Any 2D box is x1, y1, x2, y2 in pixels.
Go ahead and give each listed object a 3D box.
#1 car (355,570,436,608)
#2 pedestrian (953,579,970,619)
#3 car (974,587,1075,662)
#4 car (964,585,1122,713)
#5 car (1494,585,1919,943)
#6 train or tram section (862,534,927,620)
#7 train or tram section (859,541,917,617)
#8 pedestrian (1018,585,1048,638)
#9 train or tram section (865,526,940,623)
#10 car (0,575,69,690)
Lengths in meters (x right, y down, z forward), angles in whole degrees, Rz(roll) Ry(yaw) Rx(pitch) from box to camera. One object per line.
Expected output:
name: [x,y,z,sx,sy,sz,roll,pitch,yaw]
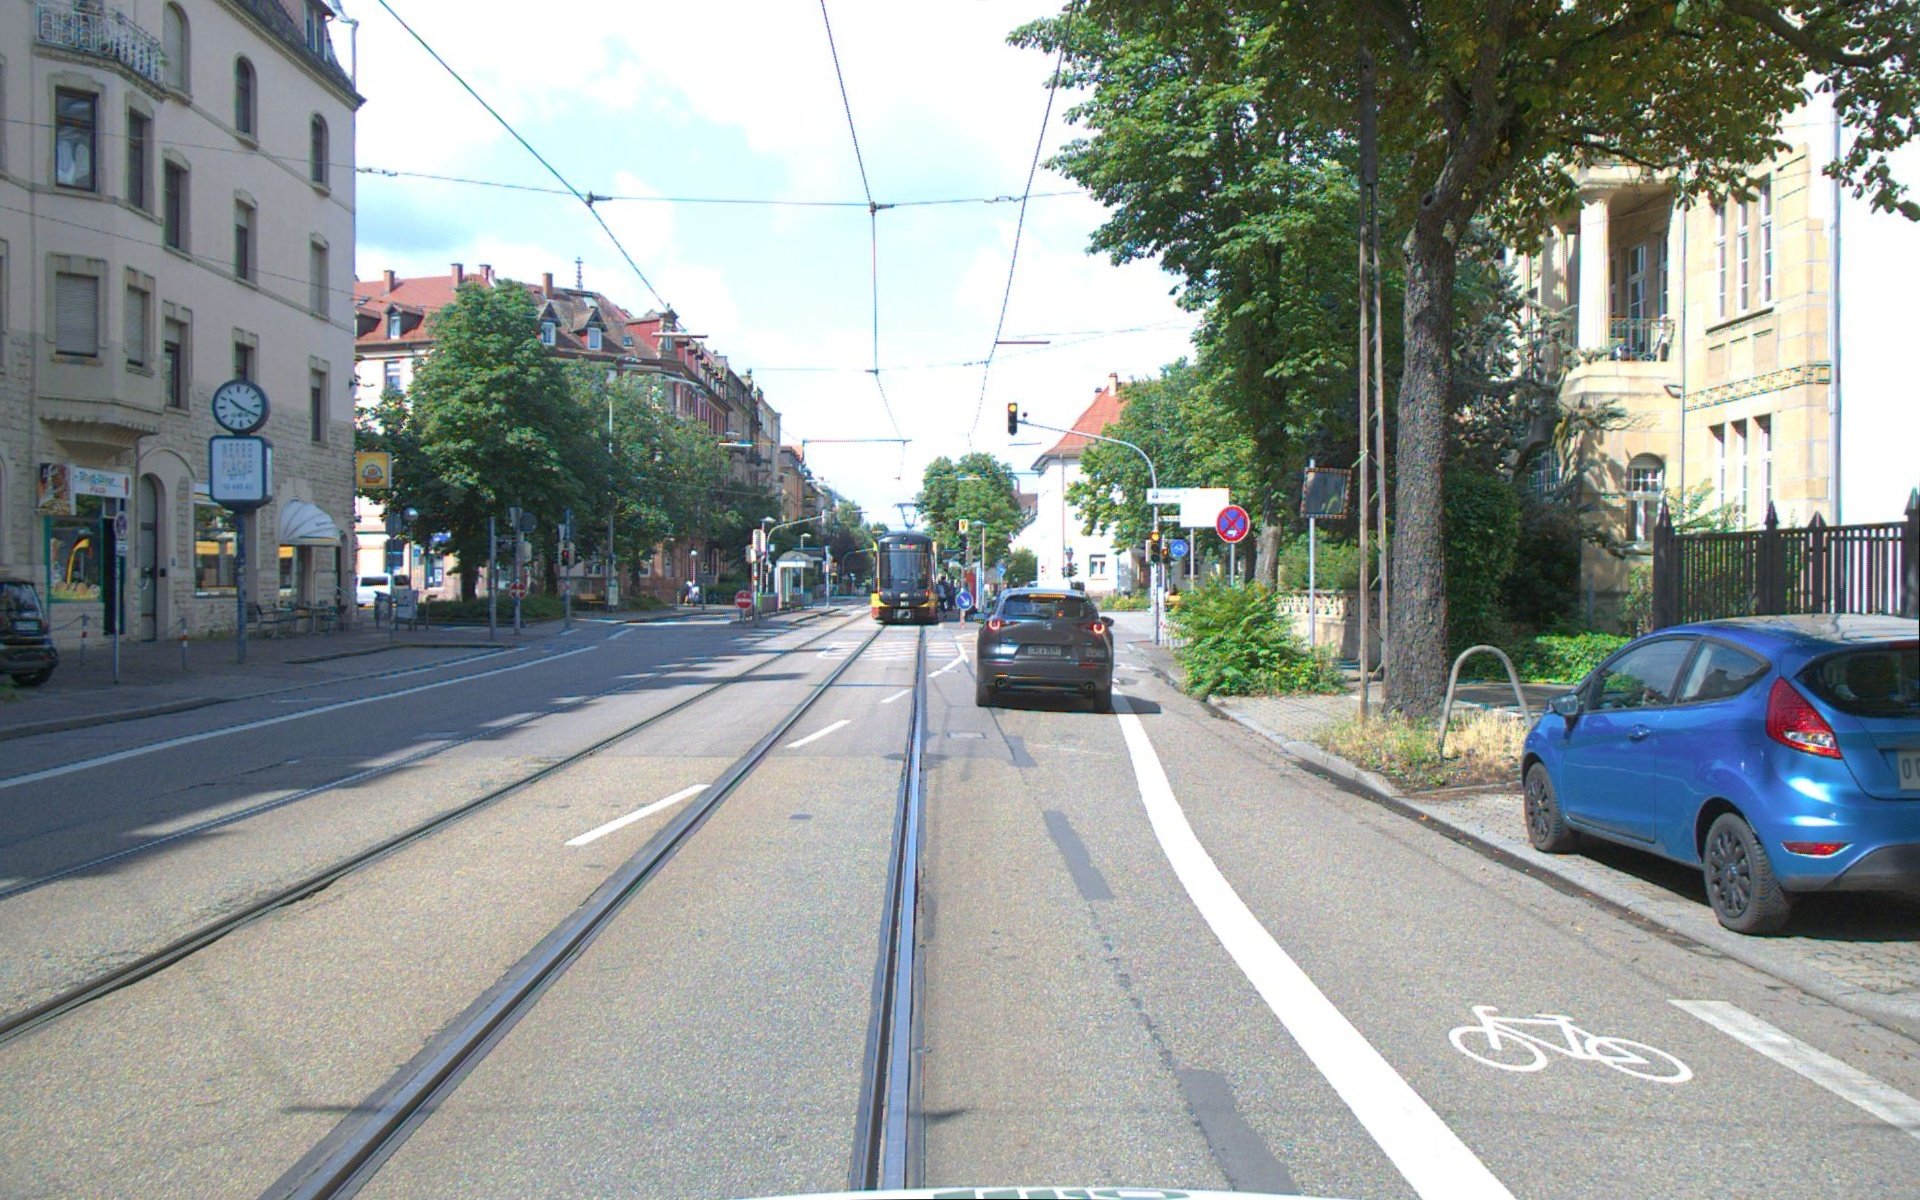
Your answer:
car: [-33.734,-0.646,98.919,4.032,2.048,2.002,-3,0,8]
pedestrian: [0.046,-0.040,68.254,0.654,1.633,0.699,0,0,-3]
car: [1.380,0.495,37.078,1.749,1.518,4.879,0,1,-4]
car: [1.033,0.586,22.648,1.753,1.538,4.349,1,1,-2]
car: [4.449,0.702,9.218,1.591,1.522,3.847,-2,1,-1]
train or tram section: [-3.033,-0.991,74.444,2.600,3.589,8.489,-1,0,-4]
train or tram section: [-3.676,-1.005,82.926,2.600,3.589,8.489,-1,0,-4]
pedestrian: [2.277,0.366,51.400,0.858,1.633,0.631,0,0,-6]
train or tram section: [-2.389,-0.978,65.968,2.600,3.589,8.489,-1,0,-4]
car: [-14.433,0.395,22.970,3.169,1.539,1.679,2,0,2]
